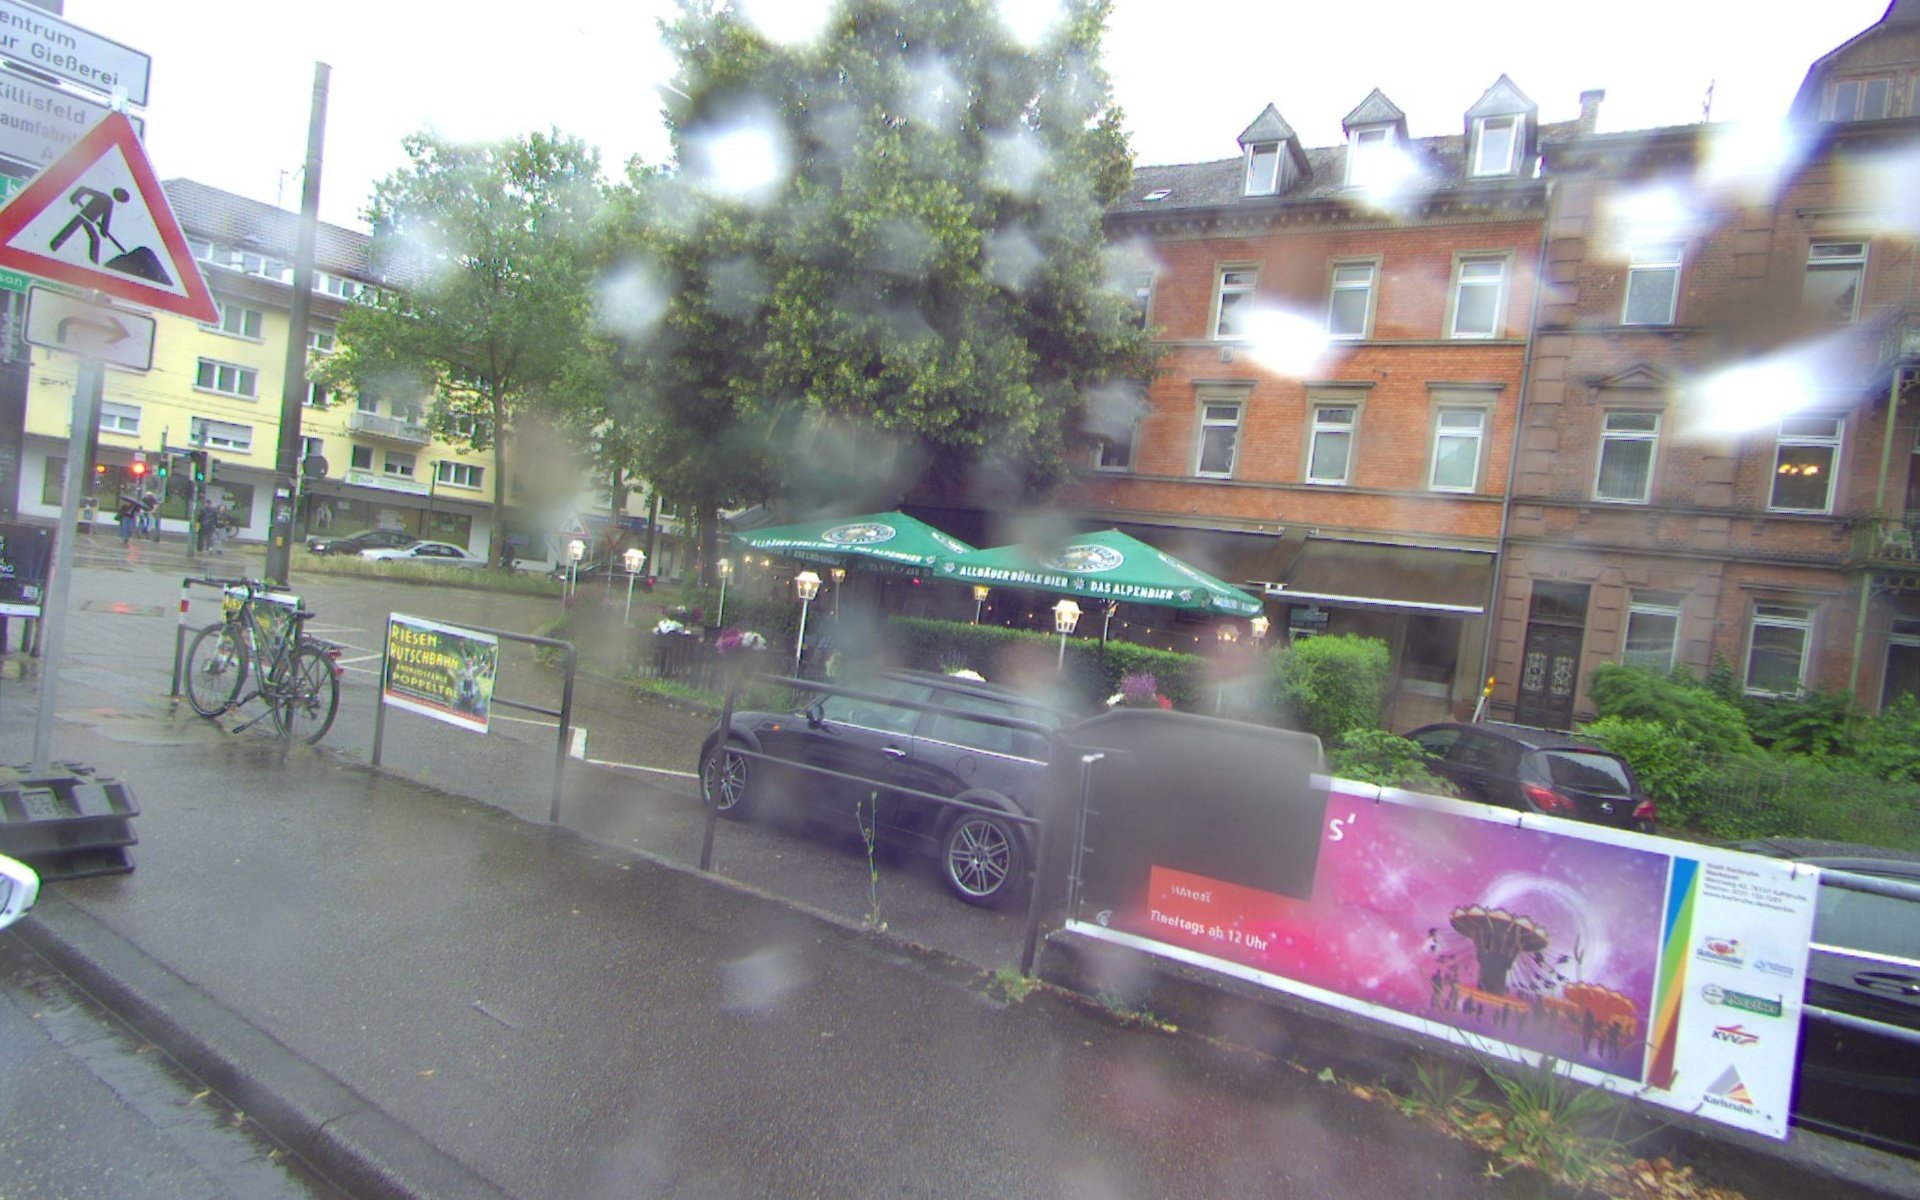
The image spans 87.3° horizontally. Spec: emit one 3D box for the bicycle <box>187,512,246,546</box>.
[{"bbox_3d":[-35.599,-3.412,48.191,2.096,1.277,0.525,8,0,-44],"label":"bicycle"}]

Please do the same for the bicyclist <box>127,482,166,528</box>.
[{"bbox_3d":[-30.522,-3.544,37.765,0.929,1.566,1.058,8,-1,-36],"label":"bicyclist"}]

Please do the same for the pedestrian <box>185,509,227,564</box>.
[{"bbox_3d":[-25.223,-2.125,33.685,0.899,1.689,1.011,7,-1,-34],"label":"pedestrian"}]

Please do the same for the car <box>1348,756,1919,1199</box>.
[{"bbox_3d":[4.195,1.852,4.950,3.907,1.416,1.706,7,-1,32],"label":"car"}]

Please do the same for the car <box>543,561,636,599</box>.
[{"bbox_3d":[-15.515,-0.833,42.268,1.227,1.095,3.531,7,-2,34],"label":"car"}]

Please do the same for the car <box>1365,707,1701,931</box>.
[{"bbox_3d":[6.604,2.426,12.211,1.962,1.733,4.004,7,-1,7],"label":"car"}]

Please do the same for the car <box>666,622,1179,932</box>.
[{"bbox_3d":[-0.349,1.212,7.792,3.468,1.457,1.710,8,-3,34],"label":"car"}]

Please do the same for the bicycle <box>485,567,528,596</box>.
[{"bbox_3d":[-19.347,-0.778,42.972,0.415,1.013,1.640,7,-1,32],"label":"bicycle"}]

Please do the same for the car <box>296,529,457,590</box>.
[{"bbox_3d":[-22.442,-1.501,38.817,1.975,1.661,4.928,3,-4,43],"label":"car"}]

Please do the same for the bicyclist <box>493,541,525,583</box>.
[{"bbox_3d":[-19.251,-1.616,42.959,0.699,1.634,0.815,7,-1,32],"label":"bicyclist"}]

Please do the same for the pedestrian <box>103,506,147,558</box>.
[{"bbox_3d":[-27.280,-2.220,32.870,0.612,1.552,0.816,7,0,-6],"label":"pedestrian"}]

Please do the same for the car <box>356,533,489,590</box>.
[{"bbox_3d":[-19.855,-1.404,37.238,3.926,1.508,1.784,8,0,-43],"label":"car"}]

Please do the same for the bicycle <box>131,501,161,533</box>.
[{"bbox_3d":[-30.547,-3.098,37.753,0.653,1.039,2.005,8,-1,-36],"label":"bicycle"}]

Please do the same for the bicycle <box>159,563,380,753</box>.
[{"bbox_3d":[-5.174,0.398,7.490,1.984,1.119,0.515,7,-3,34],"label":"bicycle"}]

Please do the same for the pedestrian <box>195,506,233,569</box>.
[{"bbox_3d":[-25.545,-2.143,34.469,0.790,2.038,0.853,7,0,-33],"label":"pedestrian"}]
